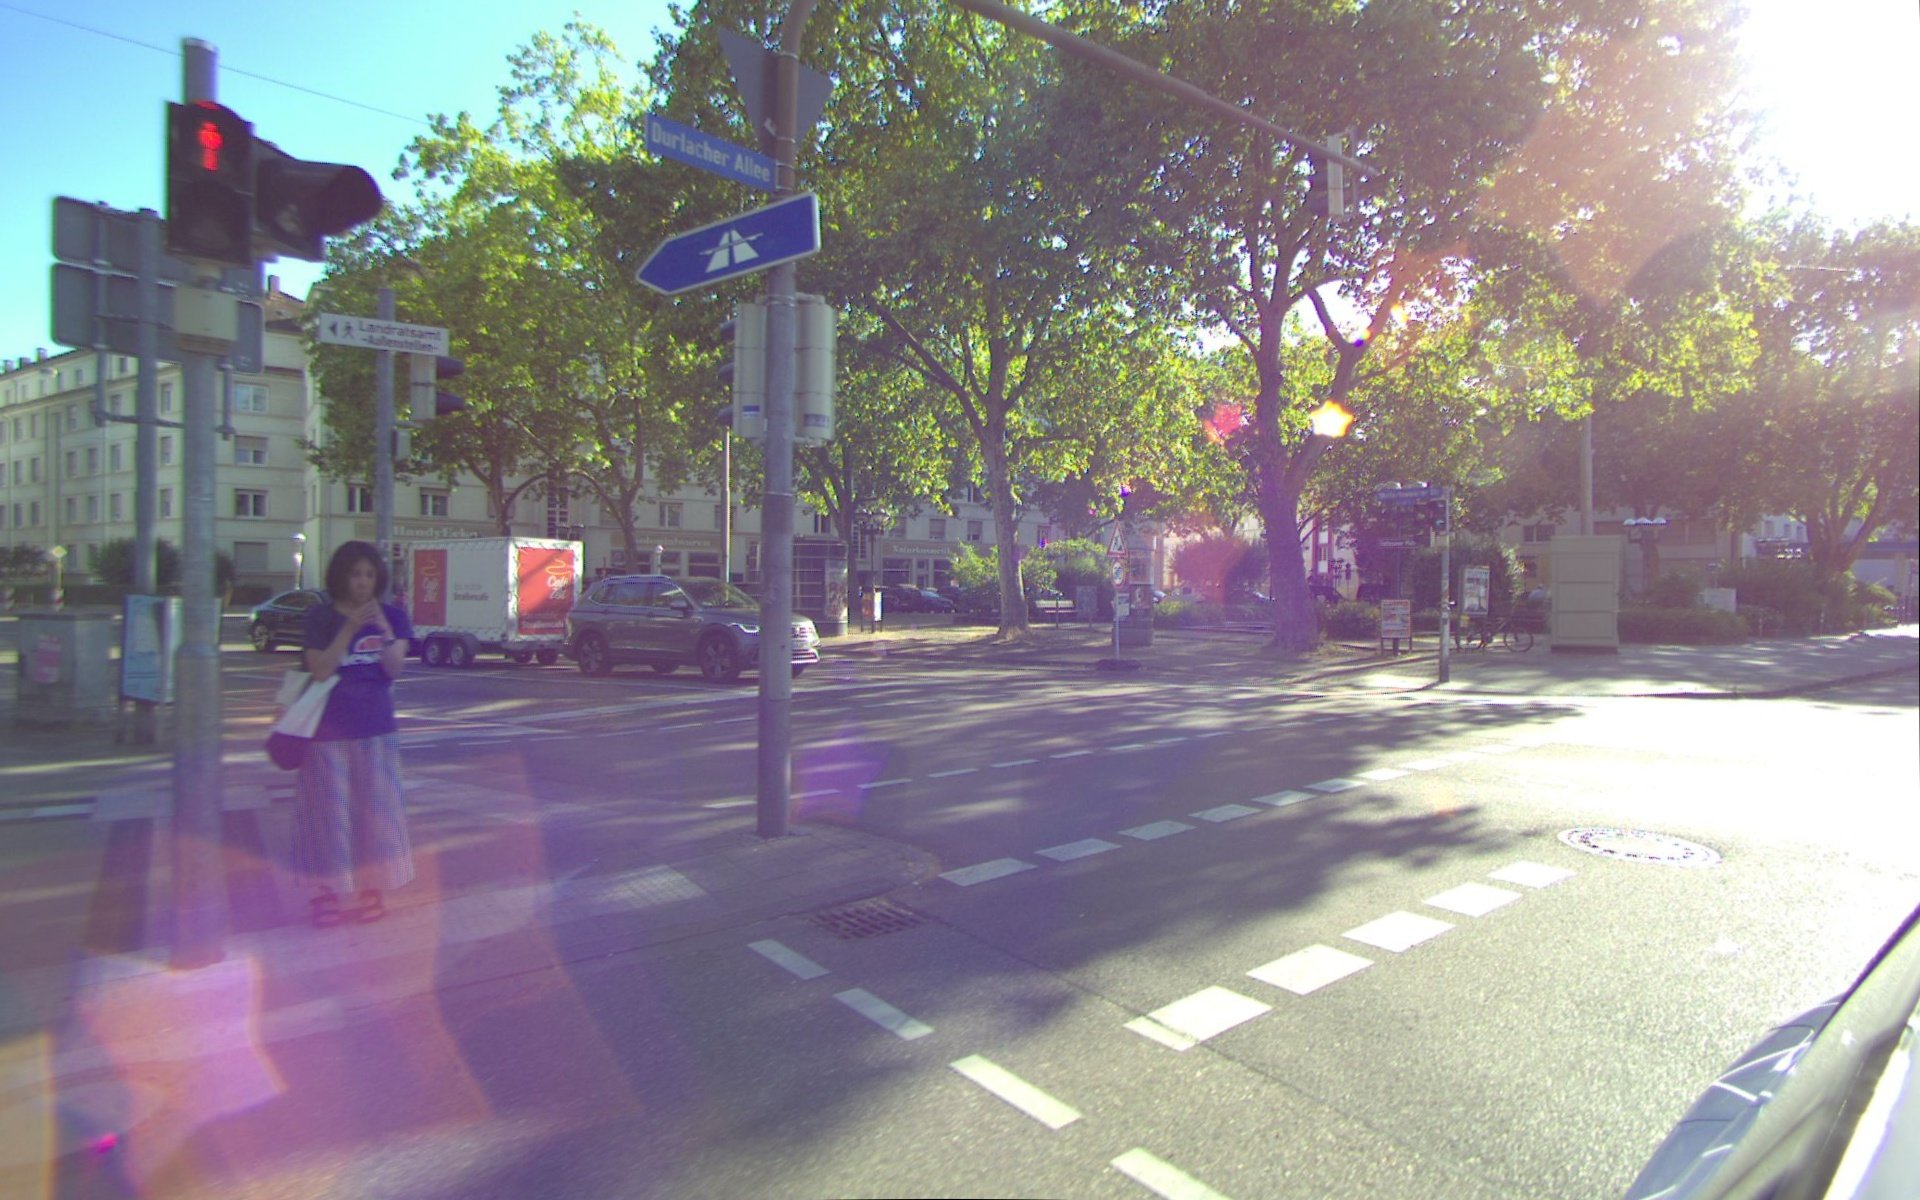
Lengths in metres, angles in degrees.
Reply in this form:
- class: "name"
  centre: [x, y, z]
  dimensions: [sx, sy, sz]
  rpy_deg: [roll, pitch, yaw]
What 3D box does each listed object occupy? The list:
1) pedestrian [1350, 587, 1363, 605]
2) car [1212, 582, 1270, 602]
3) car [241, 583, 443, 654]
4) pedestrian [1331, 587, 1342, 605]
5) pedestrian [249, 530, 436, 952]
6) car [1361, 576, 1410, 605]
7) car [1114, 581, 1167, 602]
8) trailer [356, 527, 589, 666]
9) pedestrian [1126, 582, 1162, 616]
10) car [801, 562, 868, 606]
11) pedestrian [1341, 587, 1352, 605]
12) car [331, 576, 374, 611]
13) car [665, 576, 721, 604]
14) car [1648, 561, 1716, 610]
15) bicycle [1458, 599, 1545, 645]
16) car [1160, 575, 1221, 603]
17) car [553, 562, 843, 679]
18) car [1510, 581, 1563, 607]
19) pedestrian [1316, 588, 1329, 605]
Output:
- class: "pedestrian"
  centre: [27.453, -0.287, 70.031]
  dimensions: [0.529, 1.242, 0.632]
  rpy_deg: [-1, -1, -27]
- class: "car"
  centre: [21.257, -0.595, 76.735]
  dimensions: [1.746, 1.426, 3.997]
  rpy_deg: [-1, 0, -37]
- class: "car"
  centre: [-13.361, 0.392, 21.822]
  dimensions: [4.401, 1.378, 1.915]
  rpy_deg: [-1, 0, 31]
- class: "pedestrian"
  centre: [26.477, -0.268, 71.161]
  dimensions: [0.627, 1.242, 0.533]
  rpy_deg: [-1, -1, 35]
- class: "pedestrian"
  centre: [-2.649, 0.552, 4.353]
  dimensions: [0.427, 1.660, 0.603]
  rpy_deg: [0, 0, 44]
- class: "car"
  centre: [31.496, -0.704, 74.833]
  dimensions: [4.106, 2.053, 1.709]
  rpy_deg: [0, 0, -41]
- class: "car"
  centre: [15.149, -0.736, 85.069]
  dimensions: [1.747, 1.539, 4.353]
  rpy_deg: [-1, 3, -37]
- class: "trailer"
  centre: [-9.405, -0.102, 19.428]
  dimensions: [4.479, 2.403, 1.893]
  rpy_deg: [1, 0, 31]
- class: "pedestrian"
  centre: [7.091, -0.034, 38.986]
  dimensions: [0.776, 1.256, 1.140]
  rpy_deg: [0, -1, -38]
- class: "car"
  centre: [-8.383, -1.106, 67.228]
  dimensions: [2.127, 2.699, 5.068]
  rpy_deg: [-1, 3, -37]
- class: "pedestrian"
  centre: [26.990, -0.278, 70.653]
  dimensions: [0.627, 1.242, 0.533]
  rpy_deg: [-1, -1, 35]
- class: "car"
  centre: [-30.020, -0.359, 49.979]
  dimensions: [1.788, 1.498, 4.358]
  rpy_deg: [0, 3, -32]
- class: "car"
  centre: [-16.072, -0.626, 60.762]
  dimensions: [1.747, 1.498, 4.353]
  rpy_deg: [-1, 3, -37]
- class: "car"
  centre: [42.722, -0.834, 59.847]
  dimensions: [4.628, 2.777, 1.998]
  rpy_deg: [-1, -1, -37]
- class: "bicycle"
  centre: [12.979, 0.513, 24.308]
  dimensions: [1.806, 1.067, 0.530]
  rpy_deg: [0, 0, 26]
- class: "car"
  centre: [16.855, -0.758, 74.052]
  dimensions: [2.010, 1.941, 3.997]
  rpy_deg: [-1, 0, -37]
- class: "car"
  centre: [-4.285, 0.321, 16.351]
  dimensions: [4.542, 1.661, 1.915]
  rpy_deg: [-1, 0, 31]
- class: "car"
  centre: [38.047, -0.367, 66.759]
  dimensions: [4.106, 1.680, 1.805]
  rpy_deg: [0, 0, -41]
- class: "pedestrian"
  centre: [25.816, -0.255, 72.059]
  dimensions: [0.531, 1.242, 0.630]
  rpy_deg: [0, -1, -45]
